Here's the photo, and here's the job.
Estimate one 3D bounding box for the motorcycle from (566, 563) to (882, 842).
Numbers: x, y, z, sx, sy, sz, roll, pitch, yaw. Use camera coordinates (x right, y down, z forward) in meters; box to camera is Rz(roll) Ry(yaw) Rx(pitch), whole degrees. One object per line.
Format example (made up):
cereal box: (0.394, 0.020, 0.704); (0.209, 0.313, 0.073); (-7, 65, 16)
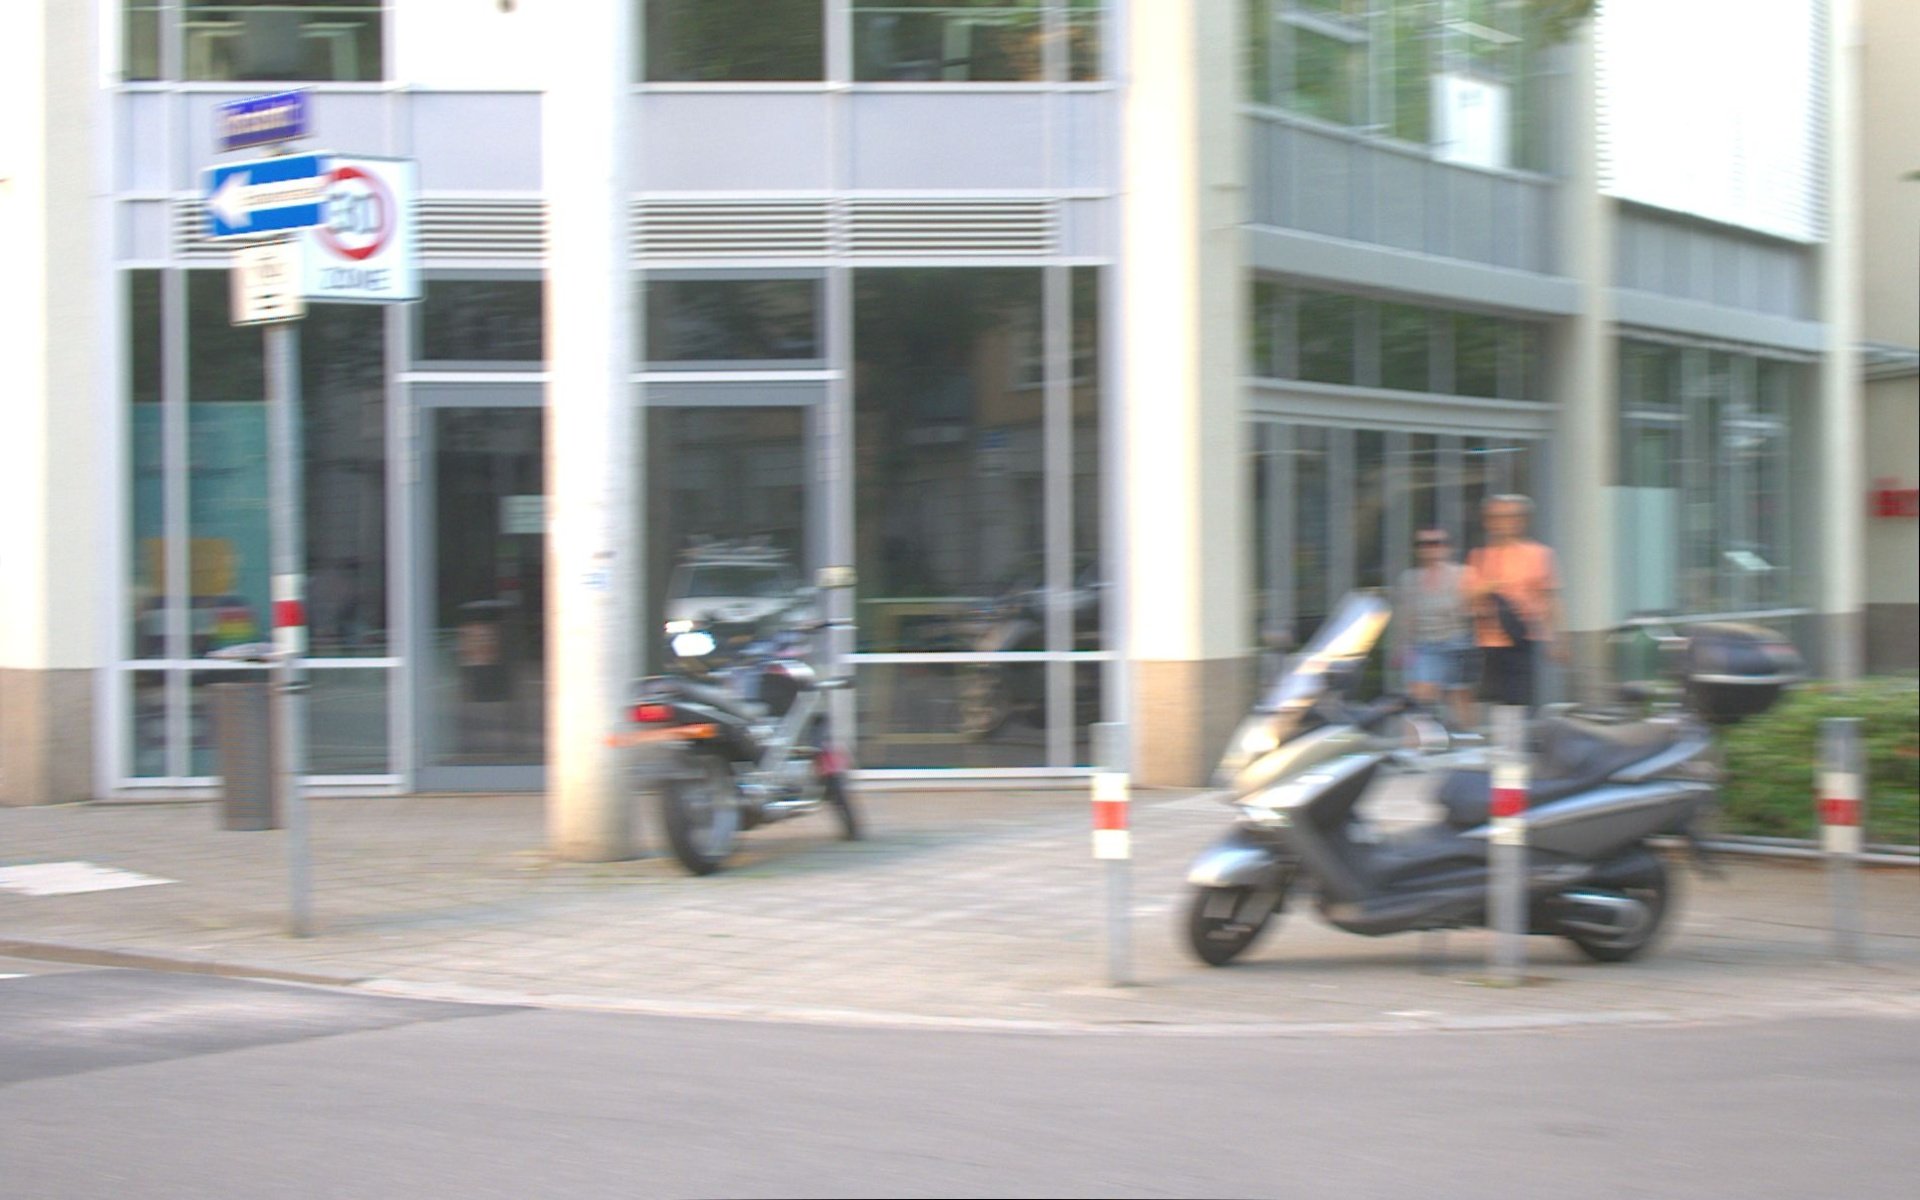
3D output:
motorcycle: (-1.062, 0.436, 16.128); (0.557, 1.168, 2.306); (0, 2, 21)

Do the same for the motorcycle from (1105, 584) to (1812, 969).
motorcycle: (1.802, 0.610, 12.649); (2.348, 1.277, 1.068); (-1, 1, -10)

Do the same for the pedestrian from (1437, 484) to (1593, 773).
pedestrian: (3.309, 0.156, 20.482); (0.740, 1.684, 0.606); (0, 1, 32)

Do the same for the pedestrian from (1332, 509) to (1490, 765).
pedestrian: (2.760, 0.214, 21.019); (0.771, 1.530, 0.641); (0, 1, 30)

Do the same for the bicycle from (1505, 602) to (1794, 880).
bicycle: (3.231, 0.613, 15.974); (0.684, 1.148, 1.977); (0, 2, 31)
